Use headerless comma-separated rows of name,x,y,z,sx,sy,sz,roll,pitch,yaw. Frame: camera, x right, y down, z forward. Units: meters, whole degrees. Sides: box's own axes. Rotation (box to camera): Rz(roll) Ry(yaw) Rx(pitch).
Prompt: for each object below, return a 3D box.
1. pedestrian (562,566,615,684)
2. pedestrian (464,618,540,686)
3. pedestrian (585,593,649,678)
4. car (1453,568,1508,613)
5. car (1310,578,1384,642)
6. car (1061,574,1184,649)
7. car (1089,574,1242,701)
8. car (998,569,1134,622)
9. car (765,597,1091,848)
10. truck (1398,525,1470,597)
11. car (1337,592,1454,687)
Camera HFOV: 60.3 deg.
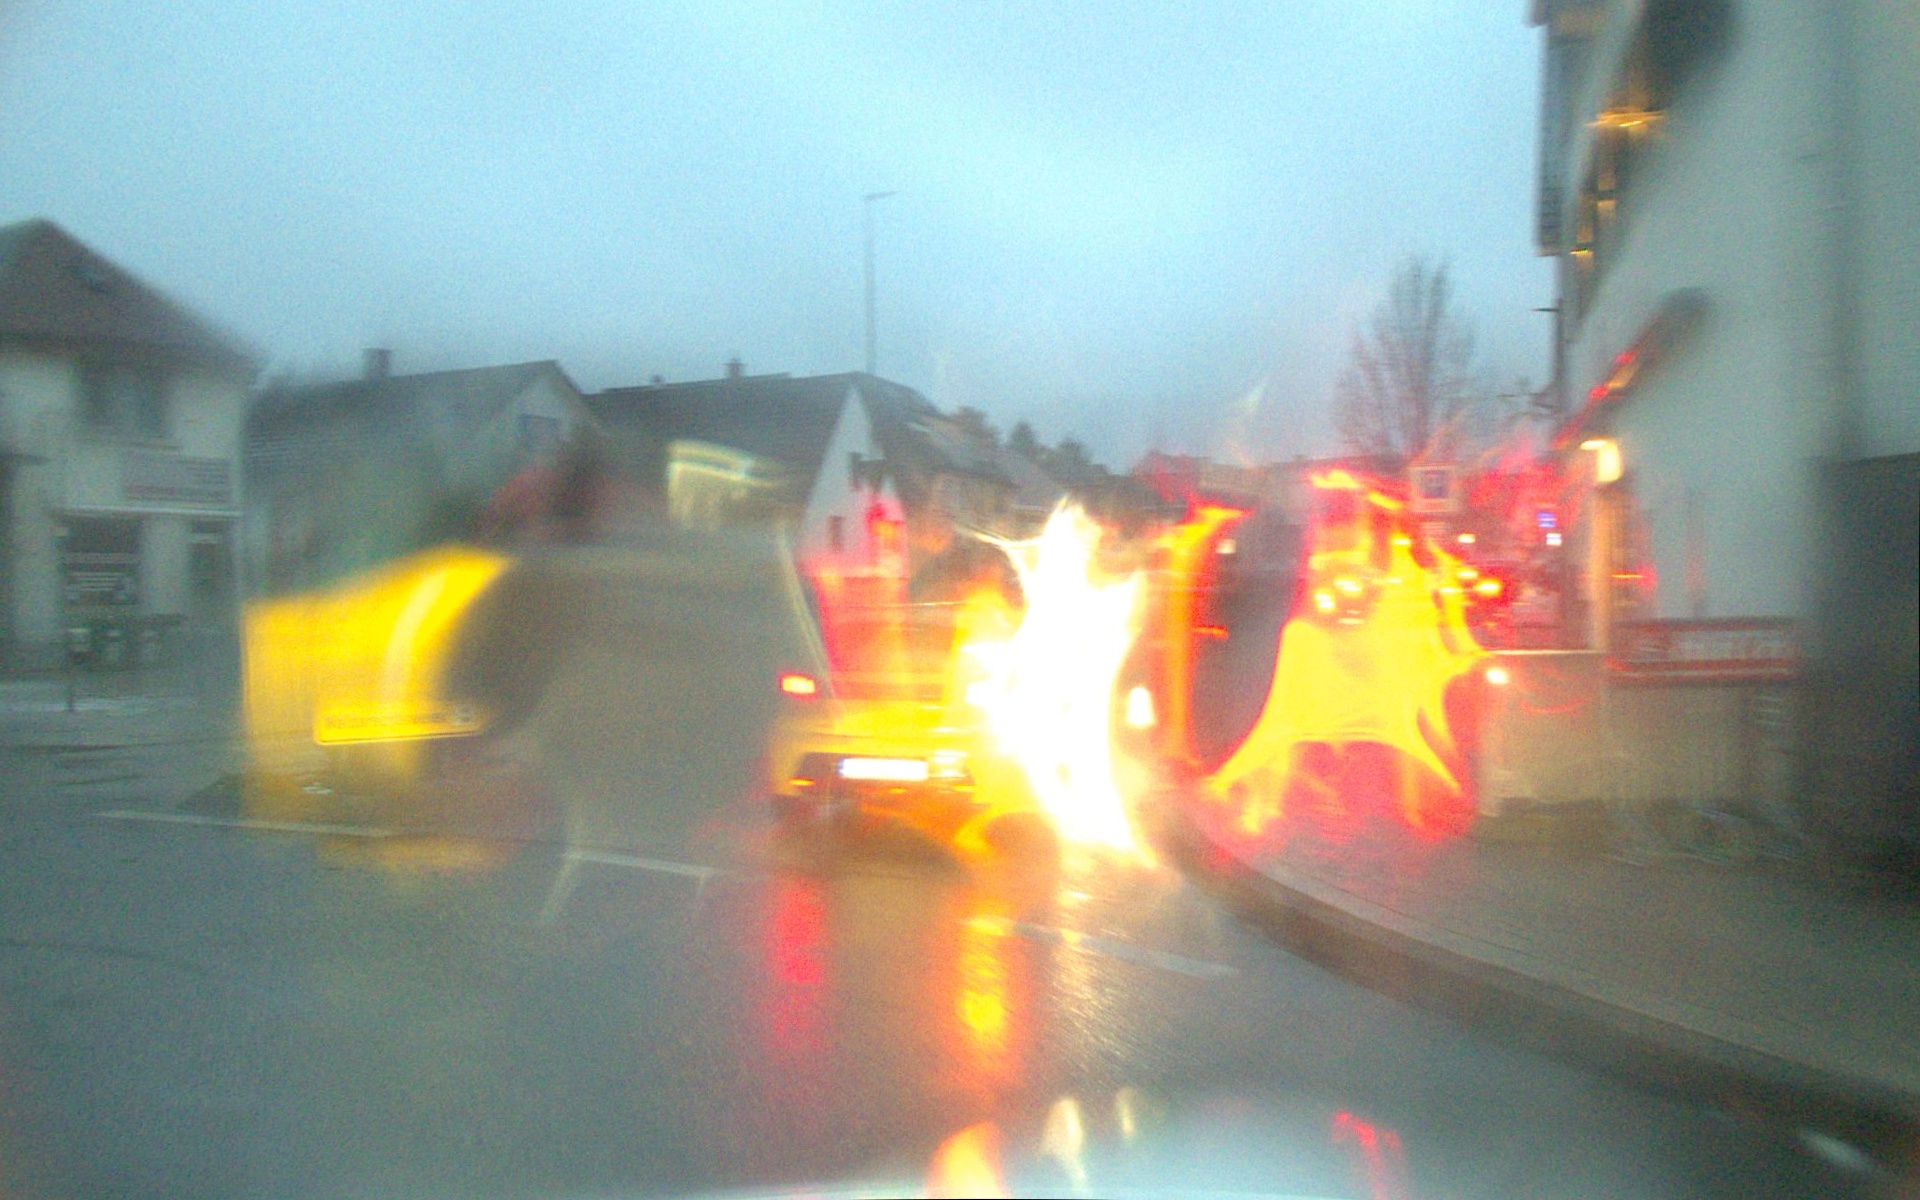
pedestrian,-5.939,0.395,26.476,0.714,1.849,0.530,-1,1,-3
pedestrian,-7.125,0.798,25.757,0.843,1.028,0.812,0,1,17
pedestrian,-5.675,0.578,27.377,0.767,1.371,0.717,0,1,20
car,18.441,-0.359,58.539,1.655,1.492,3.720,-1,1,20
car,10.932,0.248,46.568,1.685,1.660,4.002,-1,1,18
car,3.761,0.217,37.732,1.705,1.596,4.061,0,1,22
car,3.065,0.479,24.034,1.875,1.643,3.954,-1,1,12
car,3.533,-0.144,55.178,4.216,1.668,1.848,-1,1,16
car,-0.050,0.726,11.952,1.673,1.446,4.016,0,1,9
truck,21.415,-1.747,74.552,2.658,3.062,5.994,-1,1,20
car,8.308,0.702,31.346,1.773,1.598,3.852,-1,1,20
